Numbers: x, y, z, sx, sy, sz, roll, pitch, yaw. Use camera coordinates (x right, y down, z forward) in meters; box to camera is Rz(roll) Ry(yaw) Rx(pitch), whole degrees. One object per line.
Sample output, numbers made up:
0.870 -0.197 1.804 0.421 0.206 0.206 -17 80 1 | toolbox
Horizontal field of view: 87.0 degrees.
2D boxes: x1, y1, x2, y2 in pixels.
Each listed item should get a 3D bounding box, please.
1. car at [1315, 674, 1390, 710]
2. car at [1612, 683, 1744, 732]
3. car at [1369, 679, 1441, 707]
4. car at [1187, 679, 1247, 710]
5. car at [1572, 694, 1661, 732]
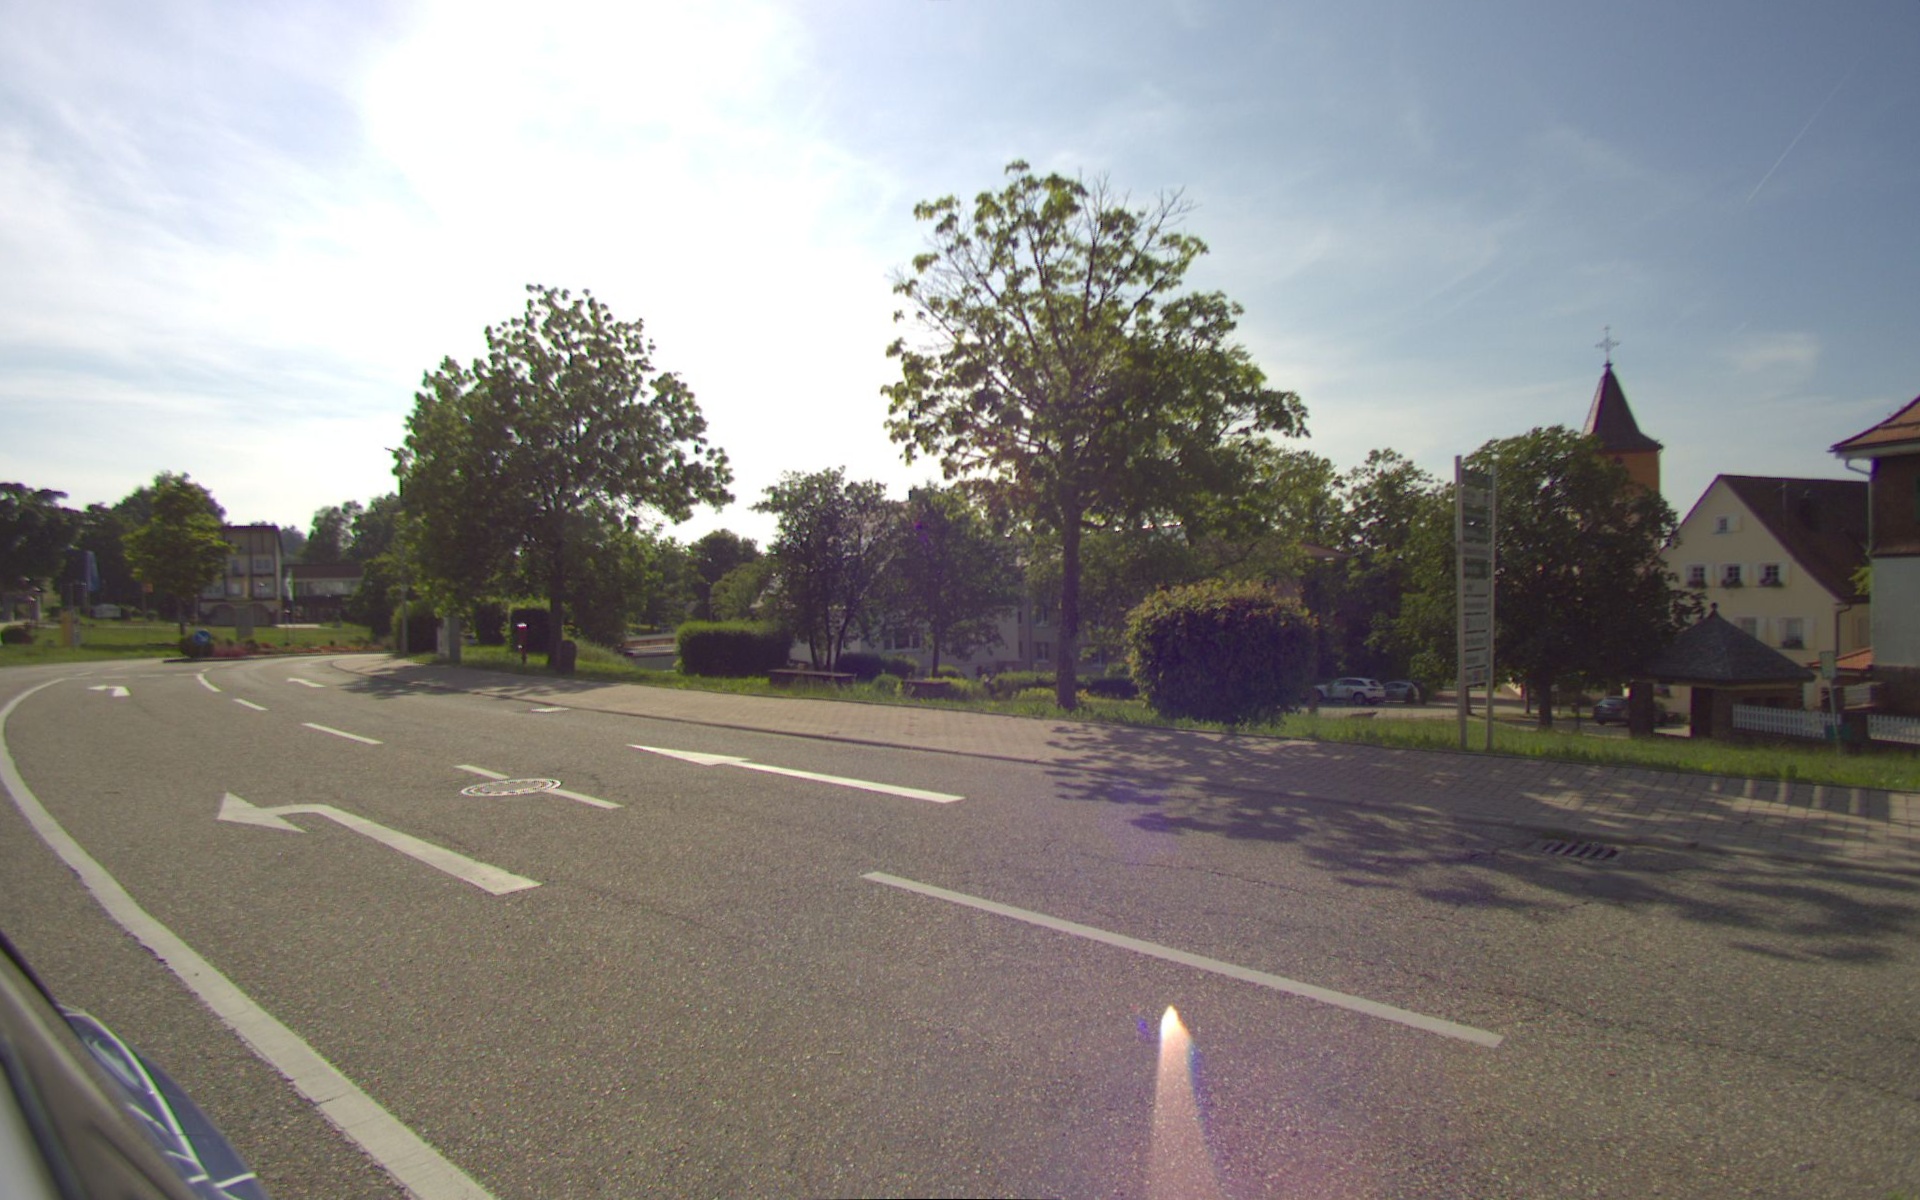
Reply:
24.563 5.735 63.421 1.968 2.029 4.007 4 -4 -39 | car
25.394 3.759 35.913 1.551 1.478 3.513 1 -2 -21 | car
30.051 6.282 68.460 1.968 1.676 4.007 4 -4 -39 | car
14.747 5.407 58.121 1.543 1.652 2.977 2 -4 -37 | car
32.046 5.473 49.399 3.931 1.630 2.006 2 -3 -29 | car
